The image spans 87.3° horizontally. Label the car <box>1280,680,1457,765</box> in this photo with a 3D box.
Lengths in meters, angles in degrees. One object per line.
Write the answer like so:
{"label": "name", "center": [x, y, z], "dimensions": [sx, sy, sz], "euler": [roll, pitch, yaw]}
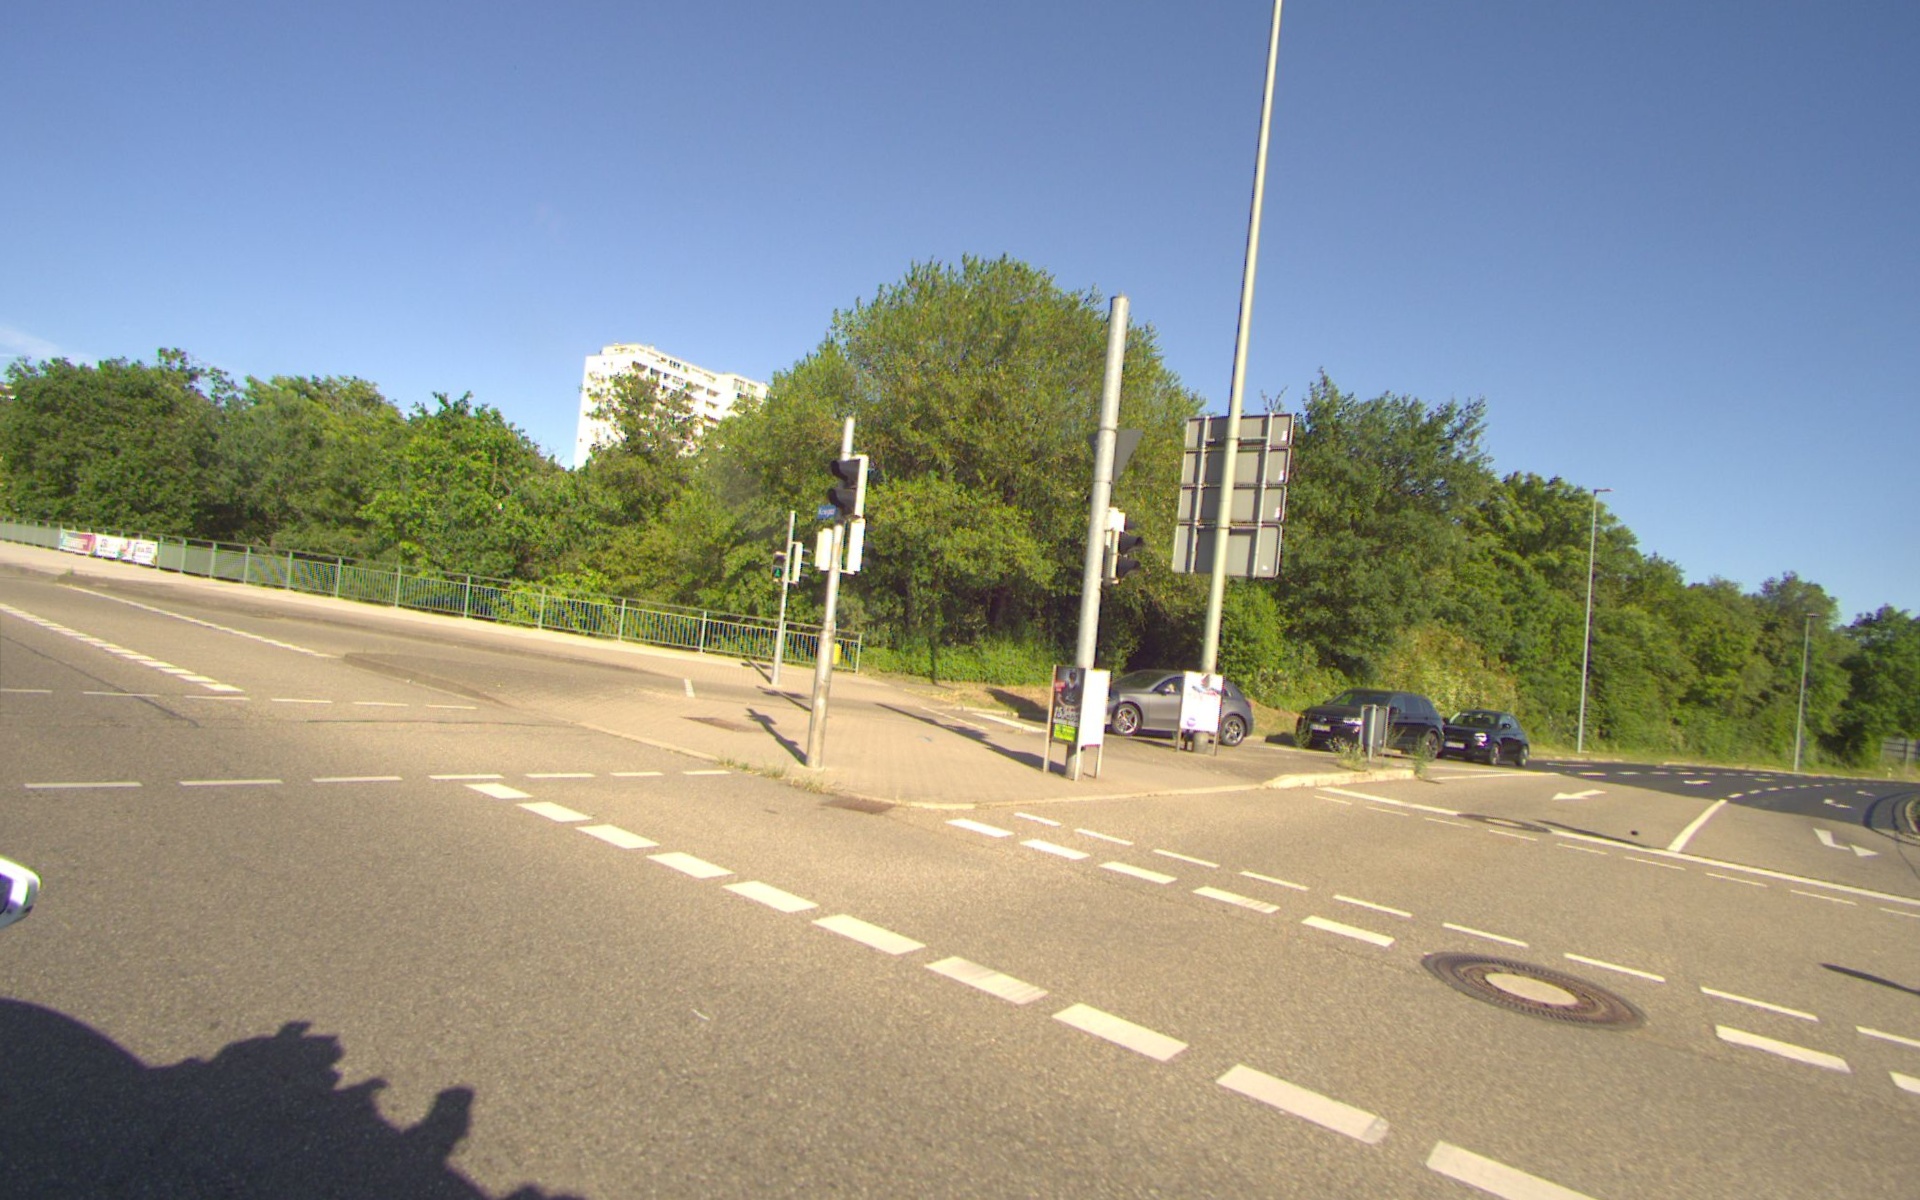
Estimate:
{"label": "car", "center": [10.153, 3.048, 24.852], "dimensions": [4.640, 1.635, 1.842], "euler": [8, -2, -38]}

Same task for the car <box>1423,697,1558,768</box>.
{"label": "car", "center": [15.241, 3.812, 28.790], "dimensions": [4.648, 1.635, 1.840], "euler": [9, -2, -42]}

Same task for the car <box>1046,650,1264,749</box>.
{"label": "car", "center": [4.162, 2.116, 21.412], "dimensions": [4.194, 1.570, 1.850], "euler": [8, -2, -26]}
